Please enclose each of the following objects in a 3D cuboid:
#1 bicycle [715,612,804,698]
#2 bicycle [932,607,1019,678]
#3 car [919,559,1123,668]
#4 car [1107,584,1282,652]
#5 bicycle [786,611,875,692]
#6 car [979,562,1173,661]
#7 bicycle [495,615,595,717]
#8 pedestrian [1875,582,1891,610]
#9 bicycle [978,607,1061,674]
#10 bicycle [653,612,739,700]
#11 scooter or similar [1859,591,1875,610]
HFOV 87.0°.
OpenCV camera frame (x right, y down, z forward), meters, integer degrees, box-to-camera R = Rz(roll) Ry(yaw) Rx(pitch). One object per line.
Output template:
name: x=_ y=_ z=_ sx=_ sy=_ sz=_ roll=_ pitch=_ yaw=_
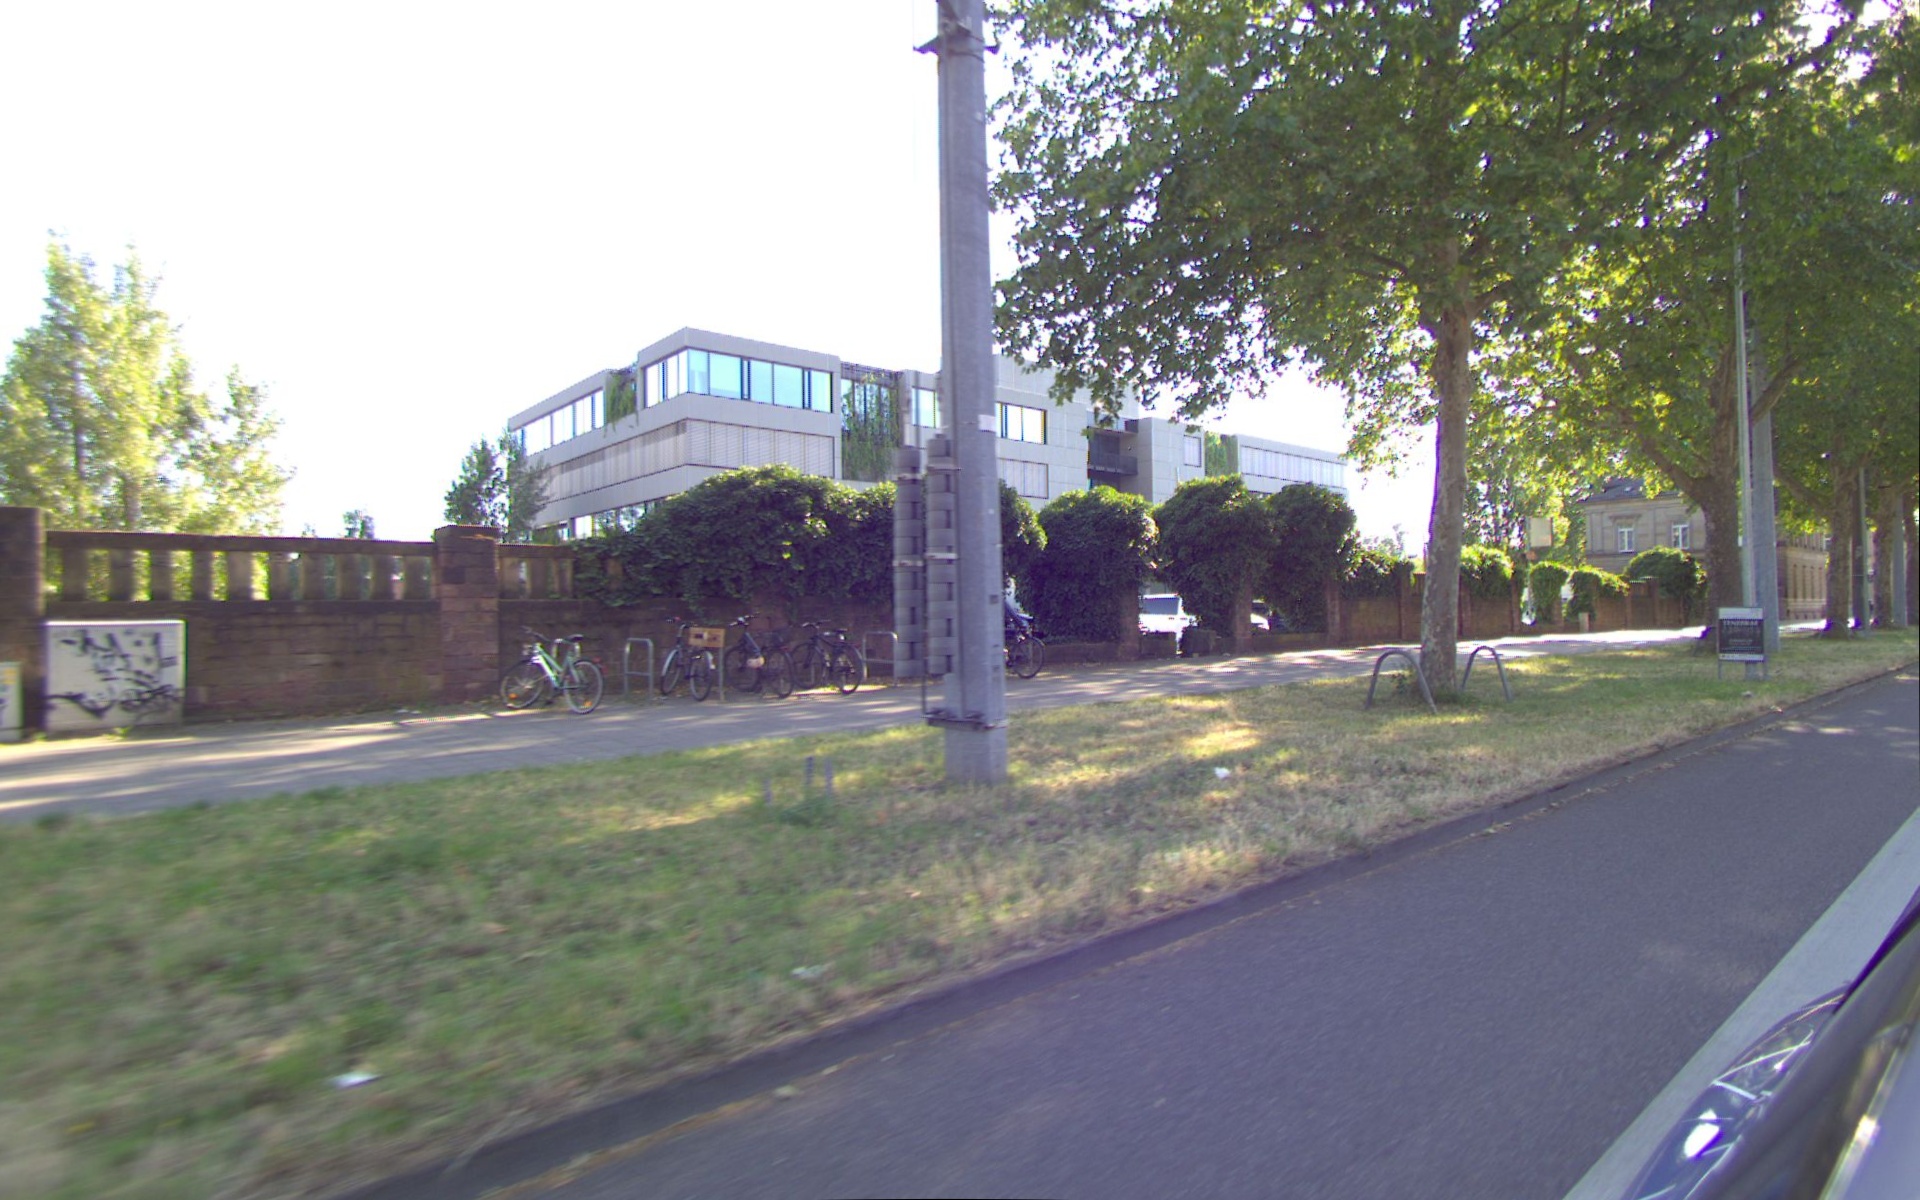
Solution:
bicycle: x=-2.912 y=0.752 z=14.567 sx=0.432 sy=1.134 sz=1.776 roll=0 pitch=0 yaw=-41
bicycle: x=0.245 y=0.707 z=17.421 sx=0.432 sy=1.134 sz=1.776 roll=0 pitch=0 yaw=-41
car: x=1.415 y=0.388 z=26.050 sx=1.965 sy=2.522 sz=5.468 roll=0 pitch=-2 yaw=-41
car: x=7.398 y=0.597 z=32.434 sx=1.965 sy=2.007 sz=5.270 roll=0 pitch=-2 yaw=-41
bicycle: x=-1.985 y=0.752 z=15.367 sx=0.432 sy=1.134 sz=1.776 roll=0 pitch=0 yaw=-41
car: x=3.105 y=0.371 z=28.344 sx=1.965 sy=2.522 sz=5.468 roll=0 pitch=-2 yaw=-41
bicycle: x=-5.104 y=0.766 z=12.386 sx=1.772 sy=1.134 sz=0.432 roll=0 pitch=0 yaw=43
pedestrian: x=58.544 y=-0.257 z=64.196 sx=0.769 sy=1.766 sz=0.784 roll=0 pitch=0 yaw=43
bicycle: x=1.036 y=0.699 z=18.109 sx=0.432 sy=1.134 sz=1.690 roll=0 pitch=0 yaw=-41
bicycle: x=-3.714 y=0.750 z=14.169 sx=0.432 sy=1.134 sz=1.776 roll=0 pitch=0 yaw=-41
scooter or similar: x=57.906 y=0.030 z=64.611 sx=0.718 sy=1.170 sz=0.748 roll=0 pitch=0 yaw=43
